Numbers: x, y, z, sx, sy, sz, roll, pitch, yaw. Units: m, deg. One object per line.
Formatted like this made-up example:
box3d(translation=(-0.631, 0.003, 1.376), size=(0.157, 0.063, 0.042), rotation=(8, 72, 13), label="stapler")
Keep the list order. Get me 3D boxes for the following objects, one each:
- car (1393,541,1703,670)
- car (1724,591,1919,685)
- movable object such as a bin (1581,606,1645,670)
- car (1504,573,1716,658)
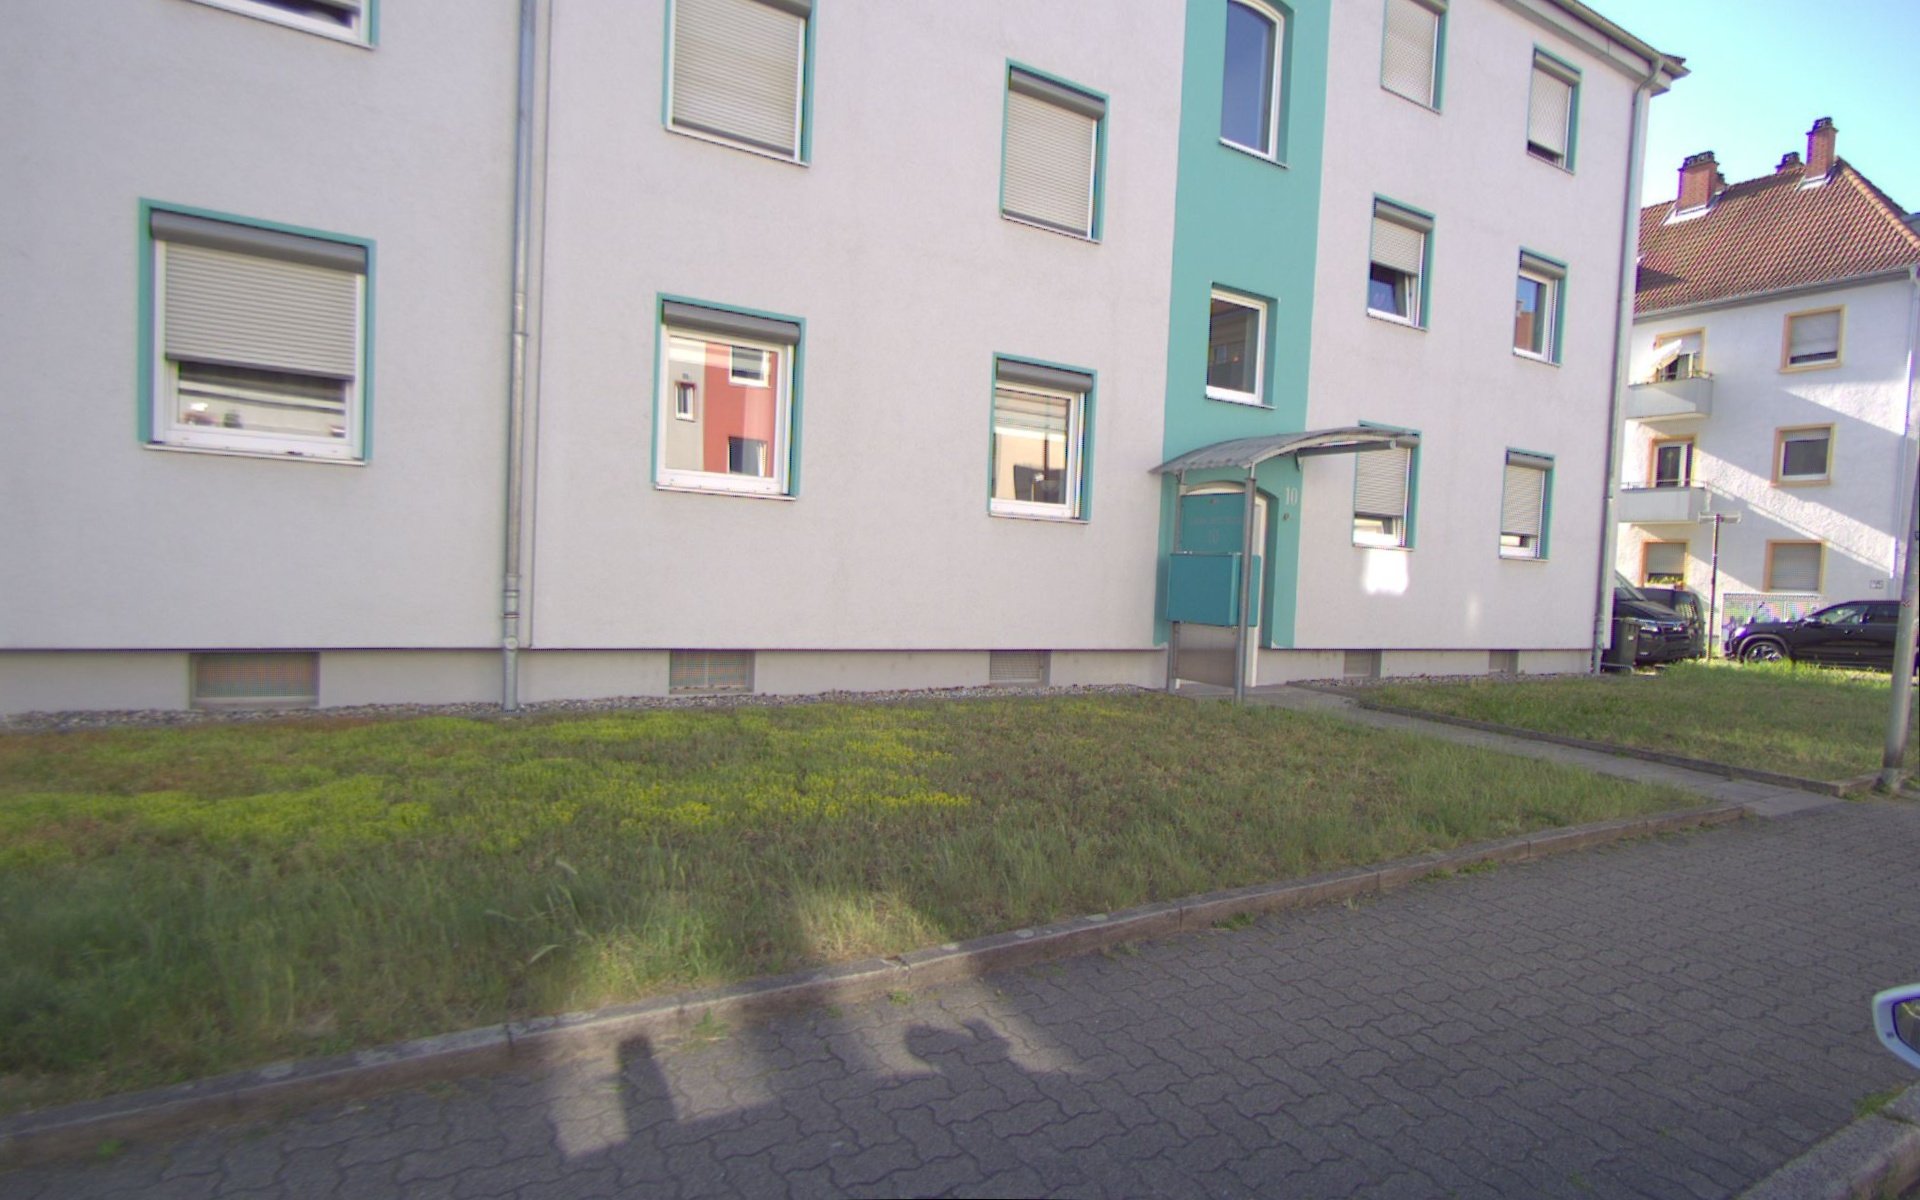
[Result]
box3d(translation=(13.277, 0.067, 23.203), size=(1.977, 2.579, 5.910), rotation=(1, 1, -31), label="car")
box3d(translation=(18.430, 0.772, 20.235), size=(1.700, 1.685, 4.465), rotation=(3, 1, -30), label="car")
box3d(translation=(11.048, 0.636, 16.997), size=(0.707, 1.005, 0.609), rotation=(1, 3, -32), label="movable object such as a bin")
box3d(translation=(15.835, 0.323, 24.673), size=(1.700, 1.812, 3.970), rotation=(3, 1, -30), label="car")
